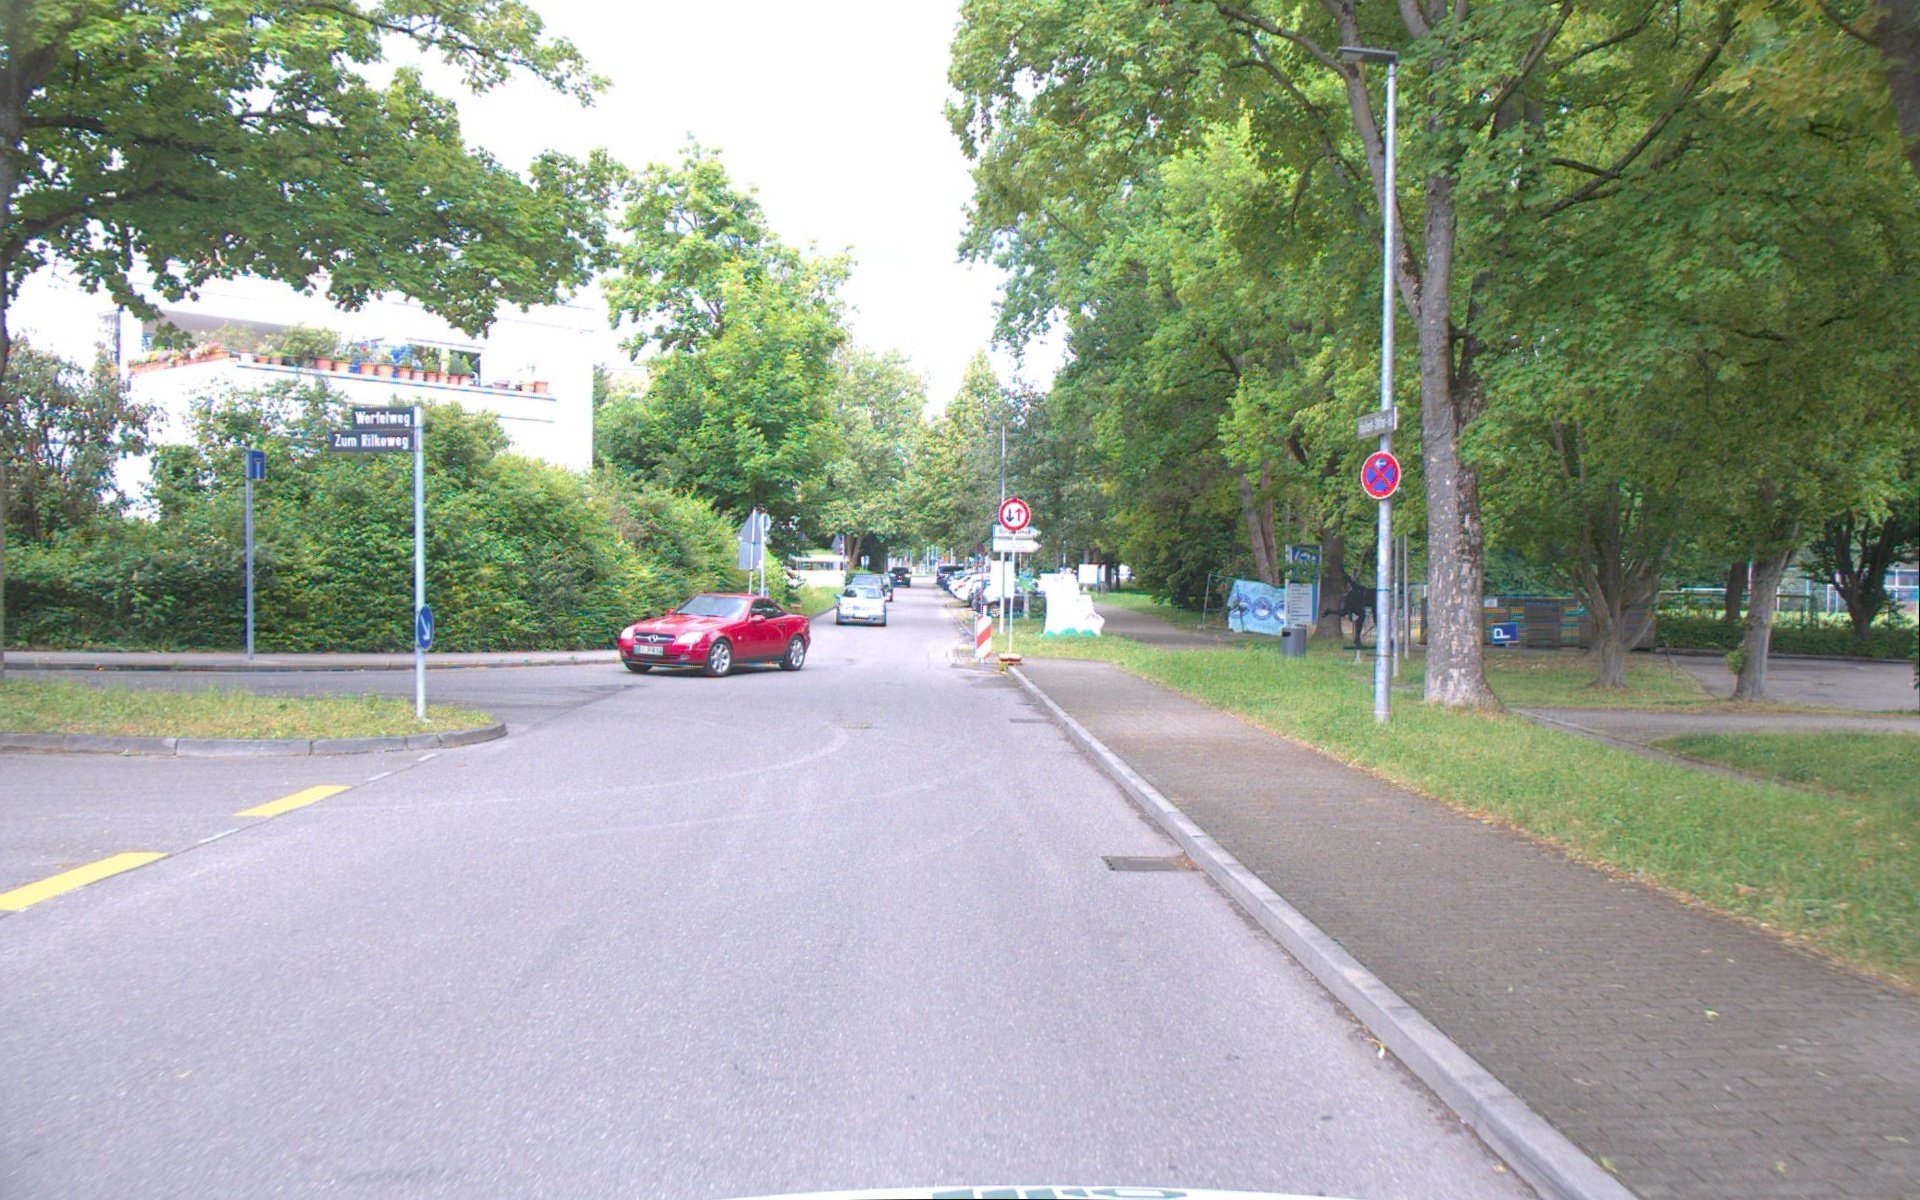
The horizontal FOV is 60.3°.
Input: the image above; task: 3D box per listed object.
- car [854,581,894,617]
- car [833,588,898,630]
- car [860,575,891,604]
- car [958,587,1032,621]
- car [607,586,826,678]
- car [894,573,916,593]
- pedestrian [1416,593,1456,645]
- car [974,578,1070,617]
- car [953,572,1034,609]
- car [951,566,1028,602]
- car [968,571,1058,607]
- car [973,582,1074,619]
[{"bbox_3d":[-4.046,-0.090,78.364,1.766,1.619,4.295,1,1,-2],"label":"car"},{"bbox_3d":[-3.214,0.277,57.128,1.744,1.329,4.298,1,1,3],"label":"car"},{"bbox_3d":[-4.969,-0.608,96.821,1.767,1.619,4.293,1,1,-3],"label":"car"},{"bbox_3d":[1.968,0.211,94.568,3.984,1.716,1.821,-3,1,-5],"label":"car"},{"bbox_3d":[-3.929,0.478,27.386,1.715,1.359,4.064,1,1,23],"label":"car"},{"bbox_3d":[-4.963,-1.513,148.688,1.929,1.778,4.336,1,1,-2],"label":"car"},{"bbox_3d":[15.573,0.624,54.095,1.124,1.704,0.793,-1,-1,24],"label":"pedestrian"},{"bbox_3d":[2.626,-0.086,70.605,3.981,1.596,1.821,-1,-1,-3],"label":"car"},{"bbox_3d":[1.712,-0.503,85.714,3.984,1.716,1.821,-3,1,-5],"label":"car"},{"bbox_3d":[1.583,-0.882,89.767,3.984,1.716,1.821,-3,1,-5],"label":"car"},{"bbox_3d":[2.399,-0.529,75.524,3.981,1.595,1.822,-1,1,-3],"label":"car"},{"bbox_3d":[2.588,0.033,68.071,3.981,1.459,1.999,-1,-1,-3],"label":"car"}]
